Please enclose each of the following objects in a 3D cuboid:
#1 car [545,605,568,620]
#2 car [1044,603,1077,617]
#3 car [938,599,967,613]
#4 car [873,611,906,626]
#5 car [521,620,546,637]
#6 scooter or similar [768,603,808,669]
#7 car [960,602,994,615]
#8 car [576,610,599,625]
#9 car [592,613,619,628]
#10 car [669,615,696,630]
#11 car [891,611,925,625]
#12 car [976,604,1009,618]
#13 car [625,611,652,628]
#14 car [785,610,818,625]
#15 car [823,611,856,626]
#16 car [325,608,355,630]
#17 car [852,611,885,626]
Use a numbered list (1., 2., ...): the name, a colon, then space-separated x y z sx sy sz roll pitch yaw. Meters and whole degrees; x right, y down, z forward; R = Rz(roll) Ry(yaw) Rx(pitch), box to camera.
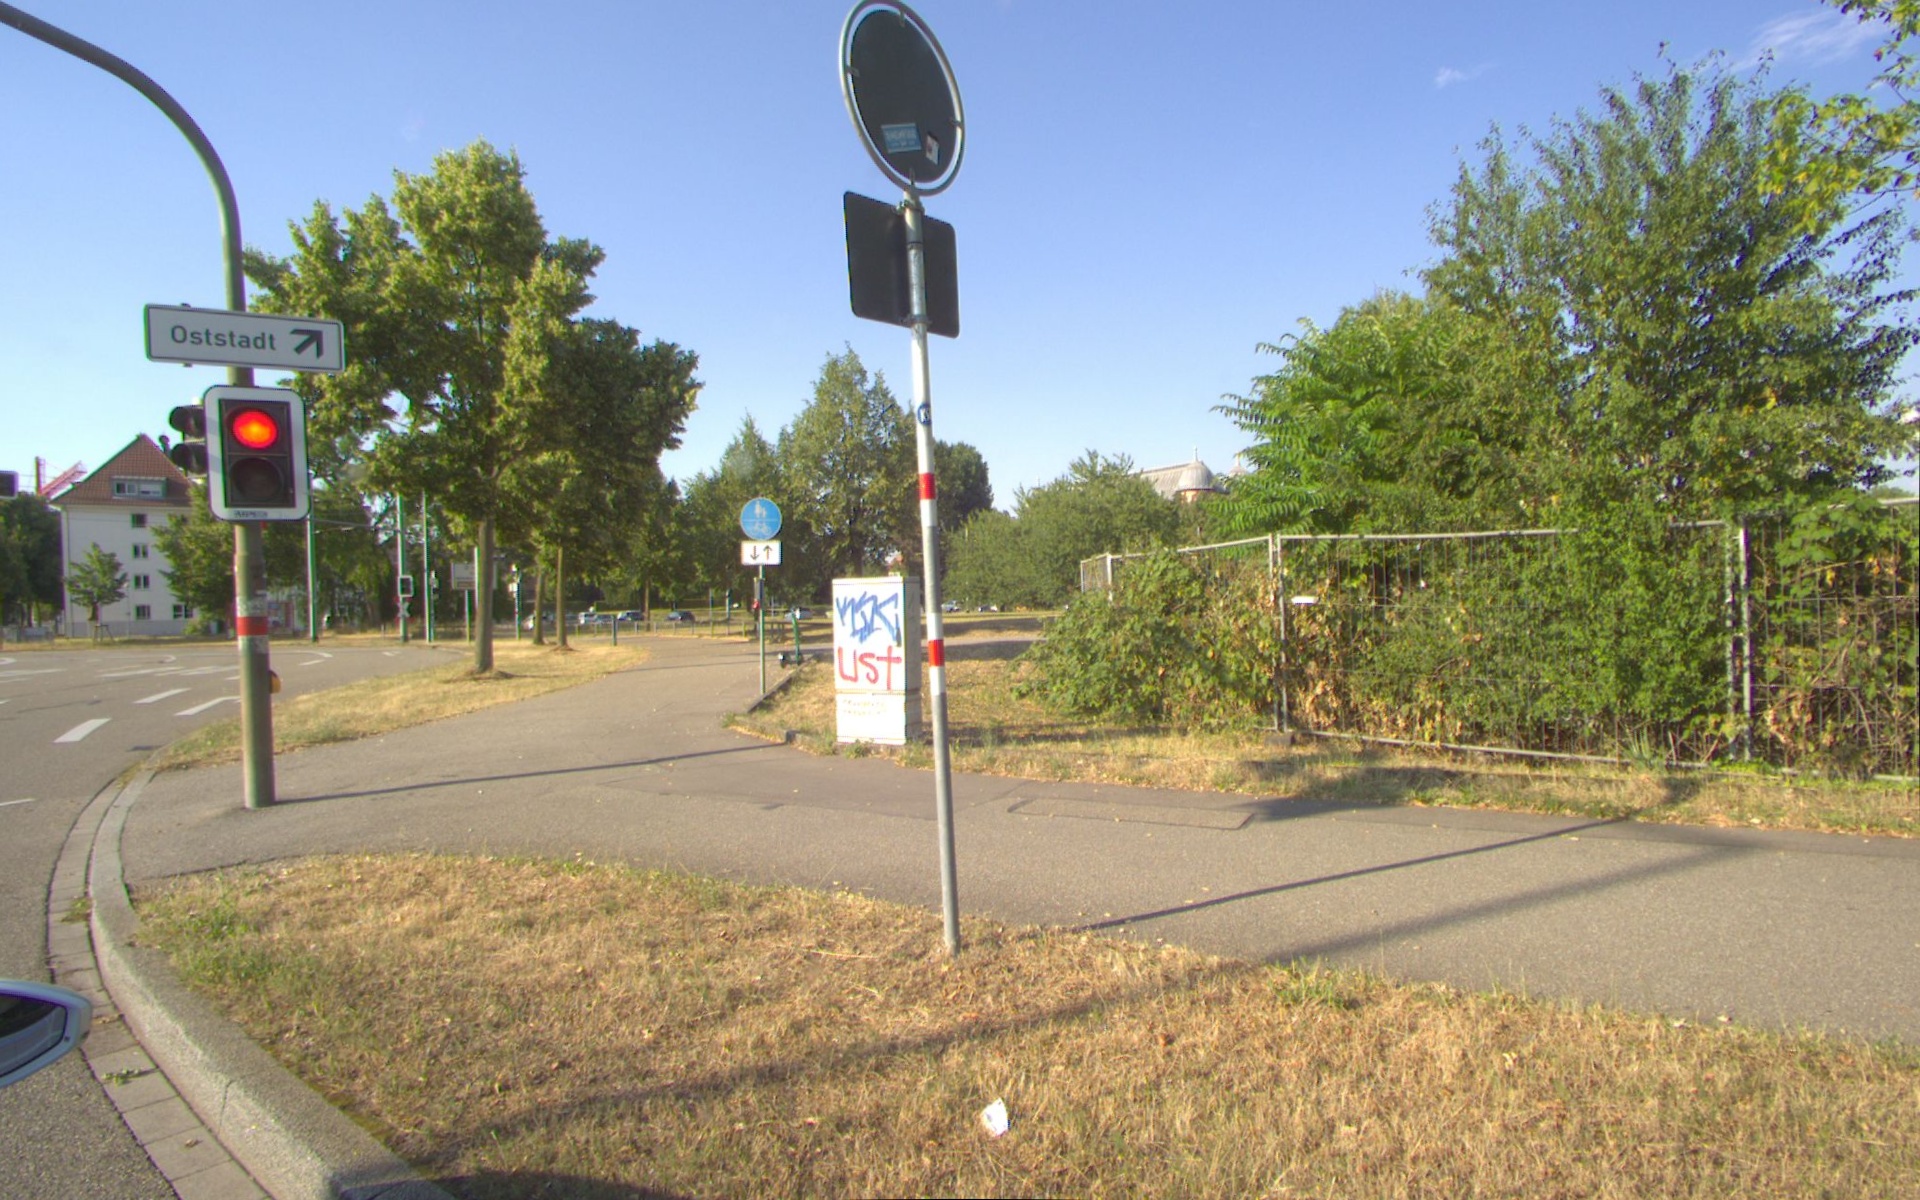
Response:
1. car: -39.452 1.243 97.927 1.583 1.420 3.950 -1 -1 -29
2. car: 11.843 1.185 118.455 1.803 1.589 3.976 -1 0 -33
3. car: -0.938 0.740 123.424 1.803 1.694 3.976 -1 0 -33
4. car: -7.455 1.951 105.476 1.803 1.421 3.976 -1 -1 -33
5. car: -36.856 2.471 86.405 1.583 1.420 3.950 -1 -1 -29
6. scooter or similar: -3.296 0.678 19.252 0.336 1.175 1.169 -4 2 8
7. car: 1.899 0.950 111.364 1.803 1.421 3.976 -1 -1 -33
8. car: -37.073 1.737 99.684 1.583 1.420 3.950 -1 -1 -29
9. car: -31.666 1.839 89.370 1.583 1.237 3.950 -1 -1 -29
10. car: -25.696 2.049 92.704 1.583 1.327 3.950 -1 -1 -29
11. car: -5.565 1.876 106.713 1.803 1.421 3.976 -1 -1 -33
12. car: 3.681 1.251 113.464 1.803 1.421 3.976 -1 -1 -33
13. car: -29.118 1.779 90.620 1.583 1.420 3.950 -1 -1 -29
14. car: -15.881 1.719 100.084 1.803 1.421 3.976 -1 -1 -33
15. car: -12.438 1.894 103.069 1.803 1.421 3.976 -1 -1 -33
16. car: -48.201 1.509 77.928 1.751 1.639 3.950 -1 0 -29
17. car: -9.545 1.904 104.244 1.802 1.421 3.976 -3 0 -33
